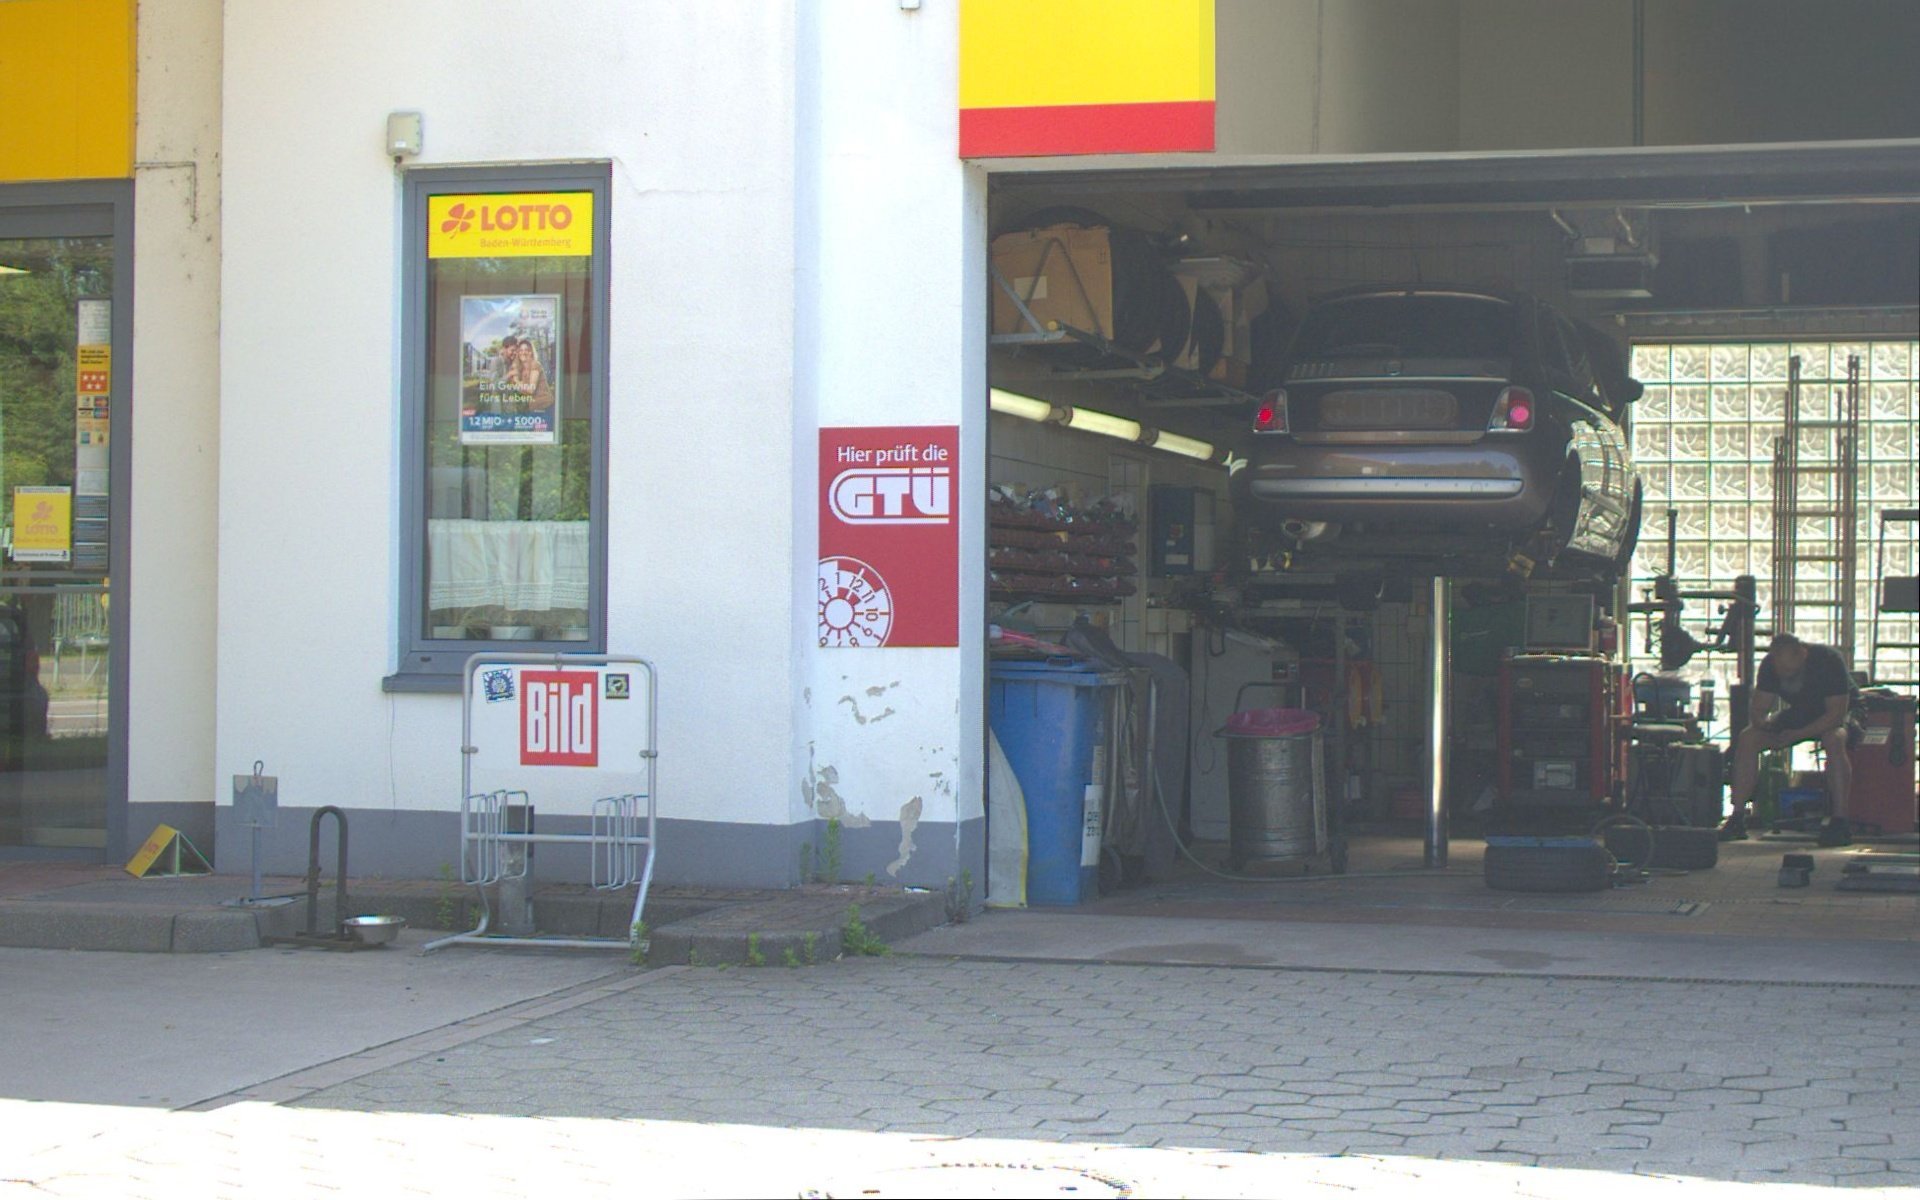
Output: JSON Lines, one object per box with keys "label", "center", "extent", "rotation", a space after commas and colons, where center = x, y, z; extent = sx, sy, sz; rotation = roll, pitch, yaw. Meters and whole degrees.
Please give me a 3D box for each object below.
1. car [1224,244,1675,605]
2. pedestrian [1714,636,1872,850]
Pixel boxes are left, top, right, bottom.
{"label": "car", "center": [2.635, -0.794, 17.729], "extent": [1.648, 1.481, 3.996], "rotation": [0, -2, 18]}
{"label": "pedestrian", "center": [4.778, 0.815, 19.690], "extent": [0.864, 1.194, 0.742], "rotation": [0, -2, 15]}
